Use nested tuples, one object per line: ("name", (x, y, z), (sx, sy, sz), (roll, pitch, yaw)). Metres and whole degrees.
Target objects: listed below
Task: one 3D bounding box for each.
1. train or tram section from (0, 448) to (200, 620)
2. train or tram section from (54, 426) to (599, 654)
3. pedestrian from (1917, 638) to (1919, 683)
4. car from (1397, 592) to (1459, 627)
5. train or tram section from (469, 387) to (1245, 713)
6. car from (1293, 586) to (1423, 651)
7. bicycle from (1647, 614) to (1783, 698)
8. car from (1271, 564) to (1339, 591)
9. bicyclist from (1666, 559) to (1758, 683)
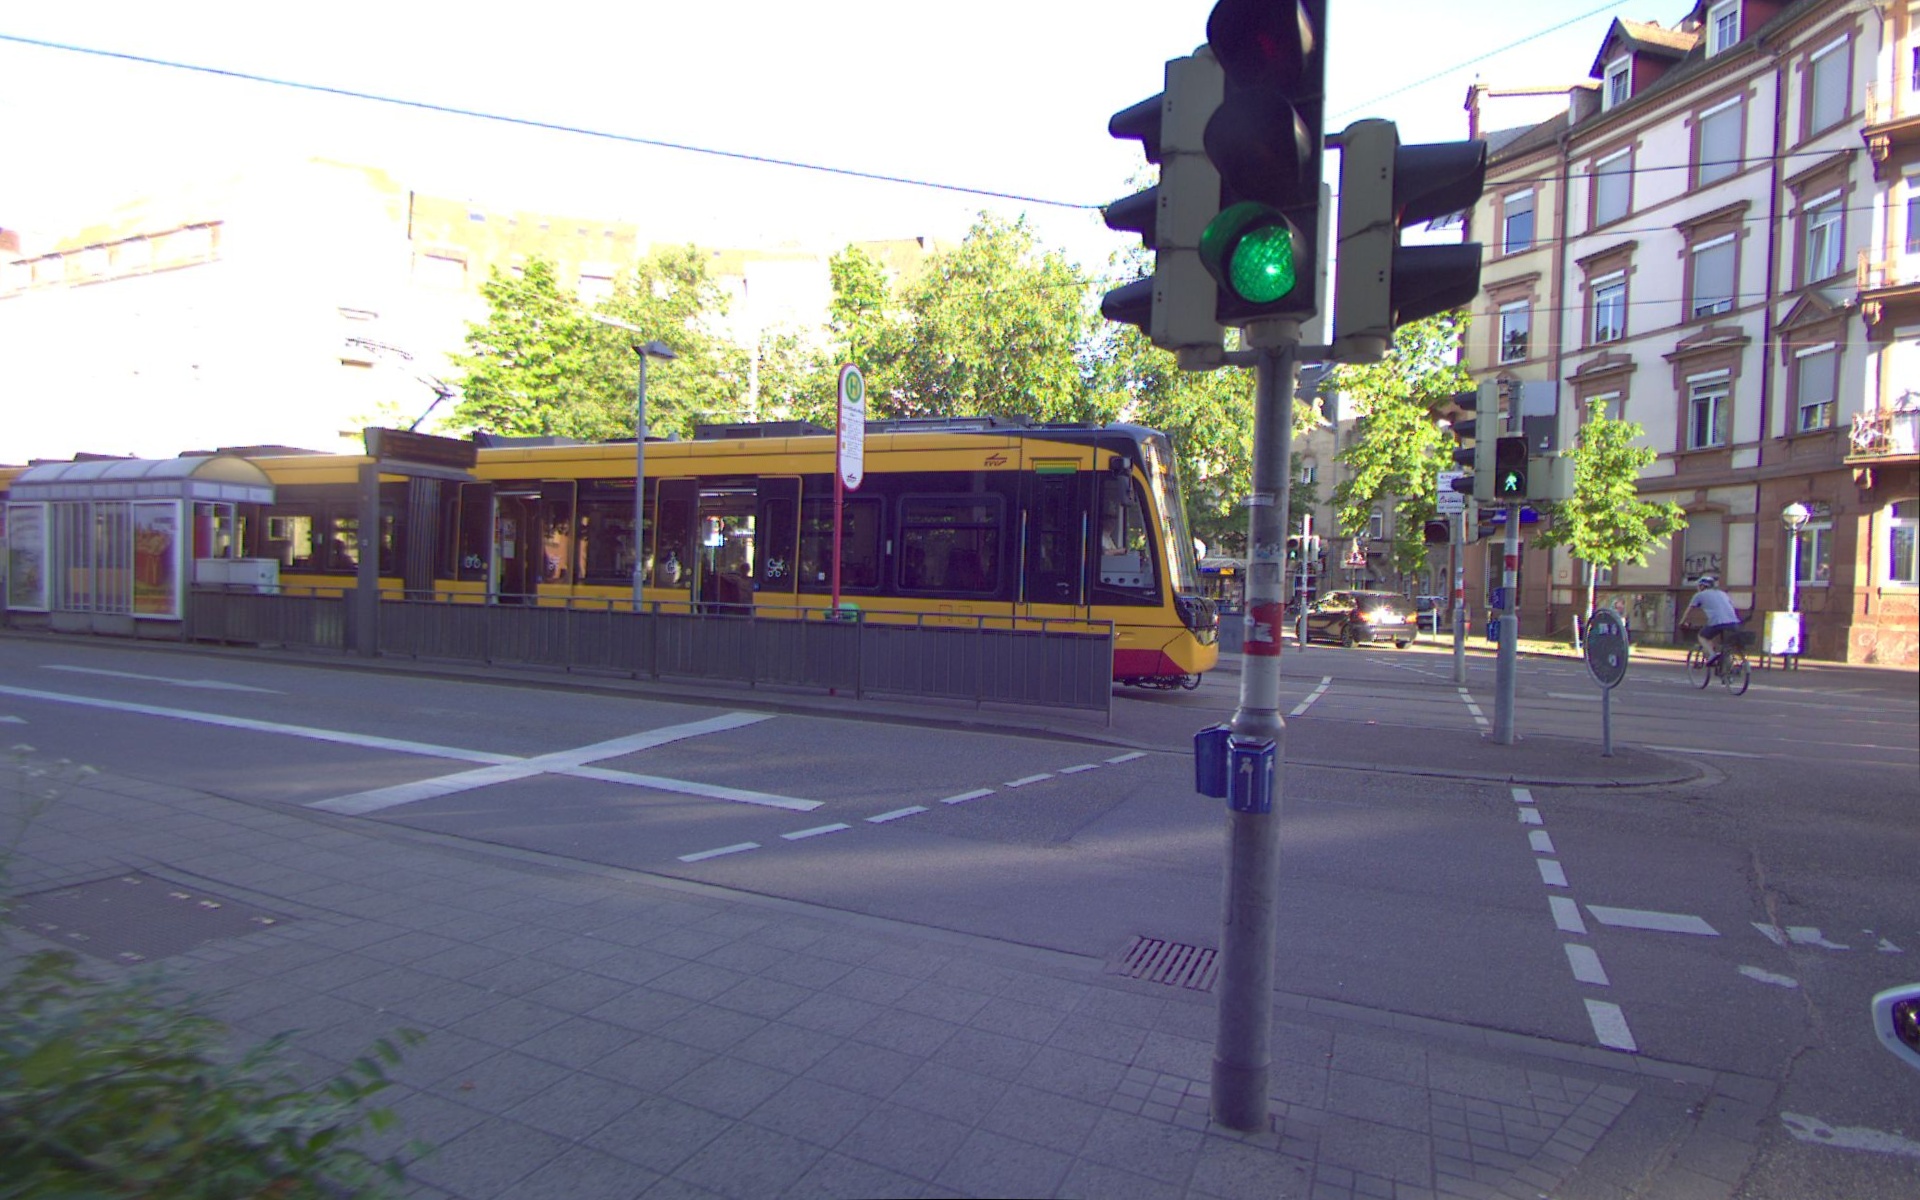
("train or tram section", (-24.060, -1.590, 24.819), (12.439, 3.605, 2.771), (2, 1, 24))
("train or tram section", (-12.816, -1.170, 19.786), (12.183, 3.635, 2.784), (2, 1, 24))
("pedestrian", (18.991, 0.797, 19.046), (0.712, 1.657, 0.903), (0, 3, -7))
("car", (20.981, 0.405, 44.970), (3.186, 1.477, 1.485), (0, 2, -45))
("train or tram section", (-1.969, -0.756, 14.940), (11.575, 3.668, 2.798), (2, 1, 24))
("car", (10.990, 0.453, 28.051), (1.761, 1.562, 3.856), (3, 1, -5))
("bicycle", (12.165, 0.858, 16.291), (0.796, 1.200, 2.228), (2, 1, 10))
("car", (23.607, -1.548, 68.756), (1.865, 1.669, 3.950), (0, 2, -42))
("bicyclist", (12.184, 0.320, 16.300), (0.781, 1.939, 0.945), (2, 1, 10))
